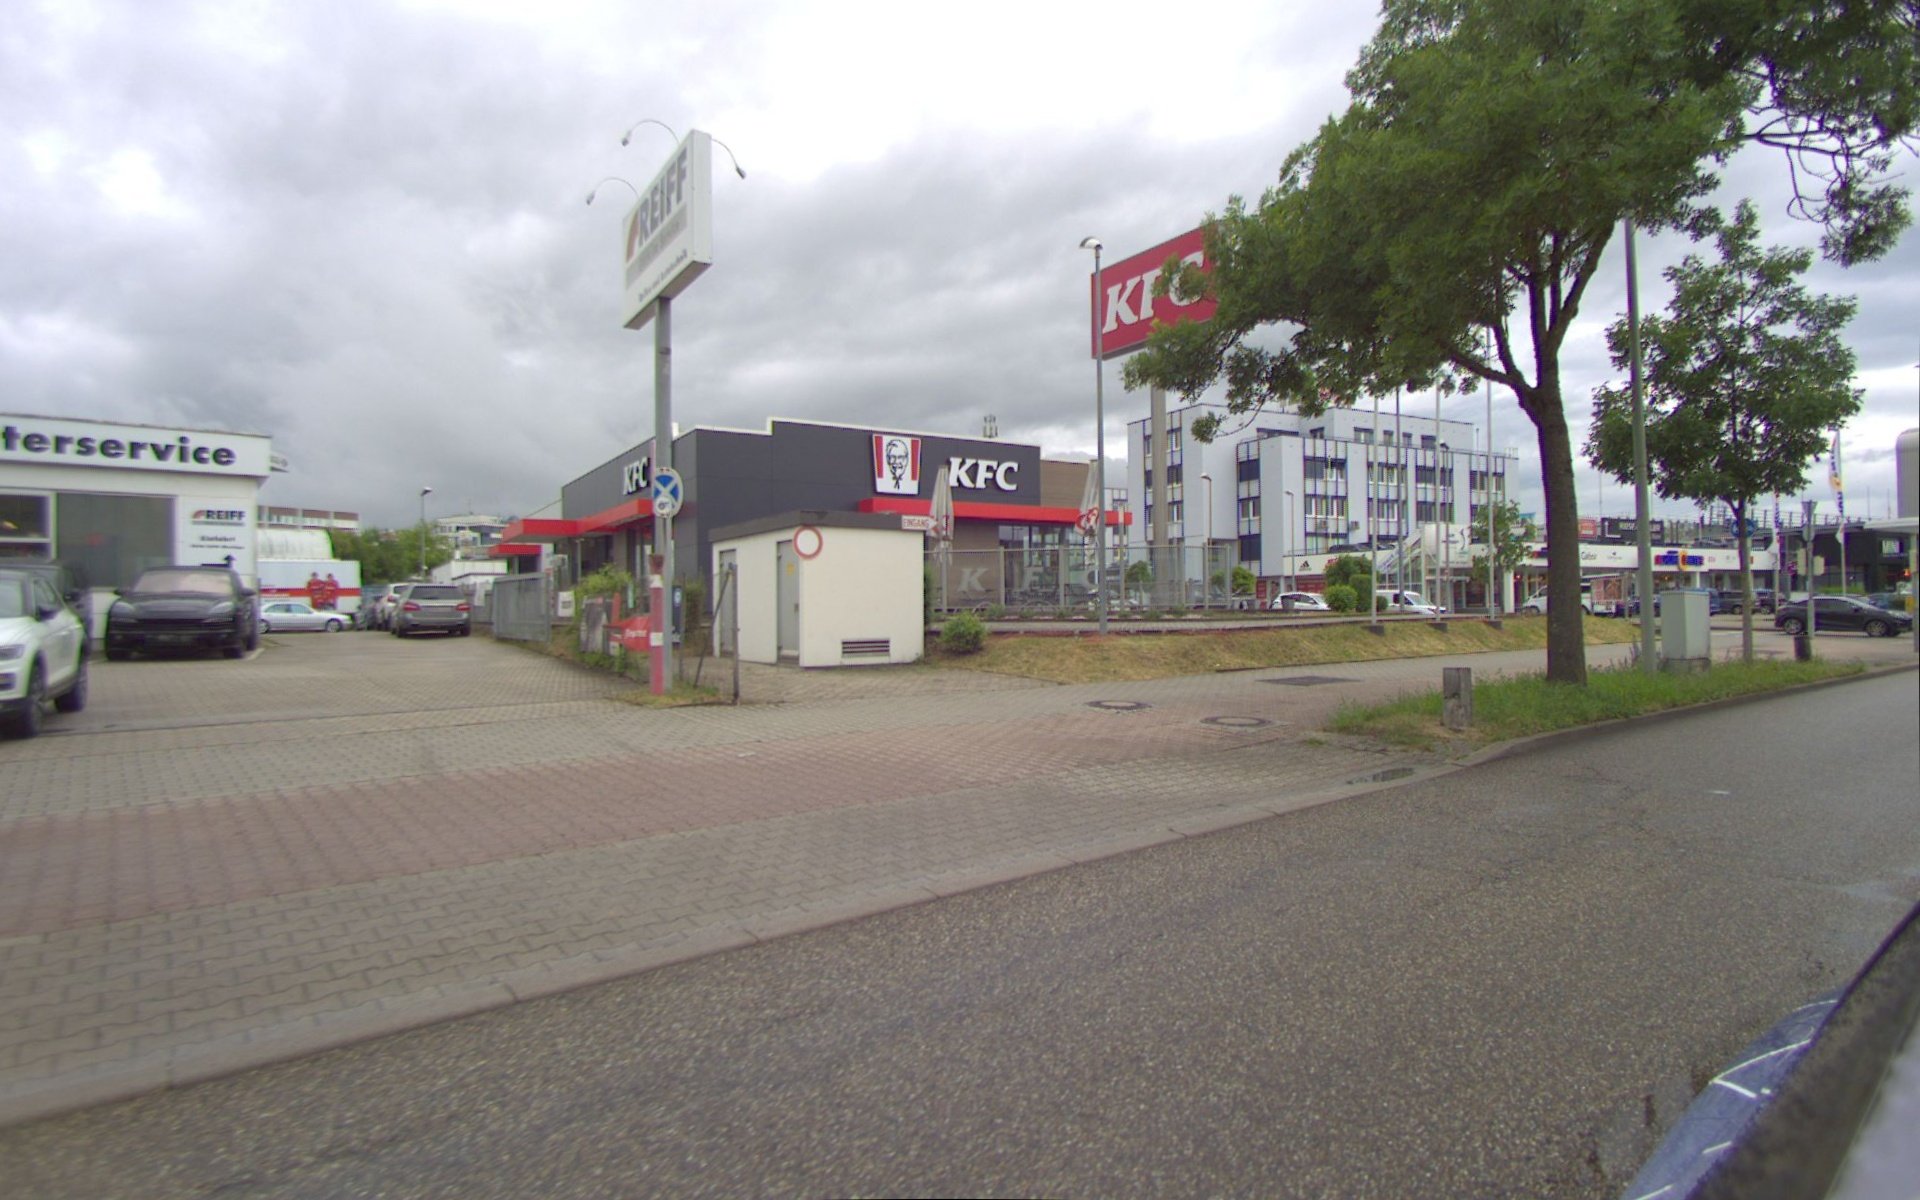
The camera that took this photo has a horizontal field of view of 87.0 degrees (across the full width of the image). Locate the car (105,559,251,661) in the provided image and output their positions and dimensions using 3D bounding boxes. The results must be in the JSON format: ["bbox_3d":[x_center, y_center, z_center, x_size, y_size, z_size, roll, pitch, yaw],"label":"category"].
[{"bbox_3d":[-14.503,0.148,18.976,1.920,1.701,4.001,0,0,-34],"label":"car"}]

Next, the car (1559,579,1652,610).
[{"bbox_3d":[39.083,-0.339,61.379,1.858,1.843,4.381,0,0,-28],"label":"car"}]

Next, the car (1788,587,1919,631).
[{"bbox_3d":[34.518,0.320,38.799,1.780,1.559,3.999,-2,1,-35],"label":"car"}]

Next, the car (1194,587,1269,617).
[{"bbox_3d":[15.356,0.077,57.398,1.788,1.619,4.003,0,0,-31],"label":"car"}]

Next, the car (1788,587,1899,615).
[{"bbox_3d":[47.167,0.026,54.126,1.785,1.411,4.134,0,0,-24],"label":"car"}]

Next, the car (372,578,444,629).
[{"bbox_3d":[-18.667,0.085,34.145,1.865,1.620,3.873,-1,1,-32],"label":"car"}]

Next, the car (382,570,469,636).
[{"bbox_3d":[-15.278,0.053,28.821,1.865,1.722,4.180,-1,1,-32],"label":"car"}]

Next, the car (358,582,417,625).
[{"bbox_3d":[-22.933,0.121,40.500,1.865,1.620,3.873,-1,1,-32],"label":"car"}]

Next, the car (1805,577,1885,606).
[{"bbox_3d":[65.206,-0.611,74.624,1.871,2.039,4.007,0,0,-25],"label":"car"}]

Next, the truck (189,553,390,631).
[{"bbox_3d":[-32.665,-0.381,49.556,8.023,3.572,2.277,-1,-1,-40],"label":"truck"}]

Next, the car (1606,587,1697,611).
[{"bbox_3d":[43.254,-0.089,63.383,1.786,1.411,4.381,0,0,-28],"label":"car"}]

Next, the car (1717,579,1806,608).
[{"bbox_3d":[54.654,-0.435,69.080,1.858,1.930,4.381,0,0,-28],"label":"car"}]

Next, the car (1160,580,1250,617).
[{"bbox_3d":[12.280,-0.089,50.624,4.415,1.762,1.893,0,0,-34],"label":"car"}]

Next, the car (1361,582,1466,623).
[{"bbox_3d":[21.292,0.105,47.705,1.763,1.806,4.252,3,-1,-31],"label":"car"}]

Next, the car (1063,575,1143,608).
[{"bbox_3d":[8.117,-0.475,57.145,4.418,1.762,1.892,0,0,-36],"label":"car"}]

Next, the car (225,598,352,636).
[{"bbox_3d":[-30.803,0.749,46.475,4.772,1.619,1.839,-1,-1,-36],"label":"car"}]

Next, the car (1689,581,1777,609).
[{"bbox_3d":[52.127,-0.356,68.327,1.858,1.786,4.381,0,0,-28],"label":"car"}]

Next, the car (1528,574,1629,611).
[{"bbox_3d":[36.406,-0.441,59.718,1.959,2.039,4.795,0,0,-26],"label":"car"}]

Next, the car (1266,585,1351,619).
[{"bbox_3d":[18.103,0.086,52.749,1.788,1.730,4.003,0,0,-31],"label":"car"}]

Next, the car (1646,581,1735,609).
[{"bbox_3d":[47.758,-0.327,66.242,1.858,1.786,4.381,0,0,-28],"label":"car"}]

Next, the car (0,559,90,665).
[{"bbox_3d":[-16.726,0.159,17.858,1.922,1.701,3.997,0,1,-39],"label":"car"}]

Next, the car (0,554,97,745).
[{"bbox_3d":[-9.702,0.398,9.608,1.853,1.571,4.188,0,0,-34],"label":"car"}]
